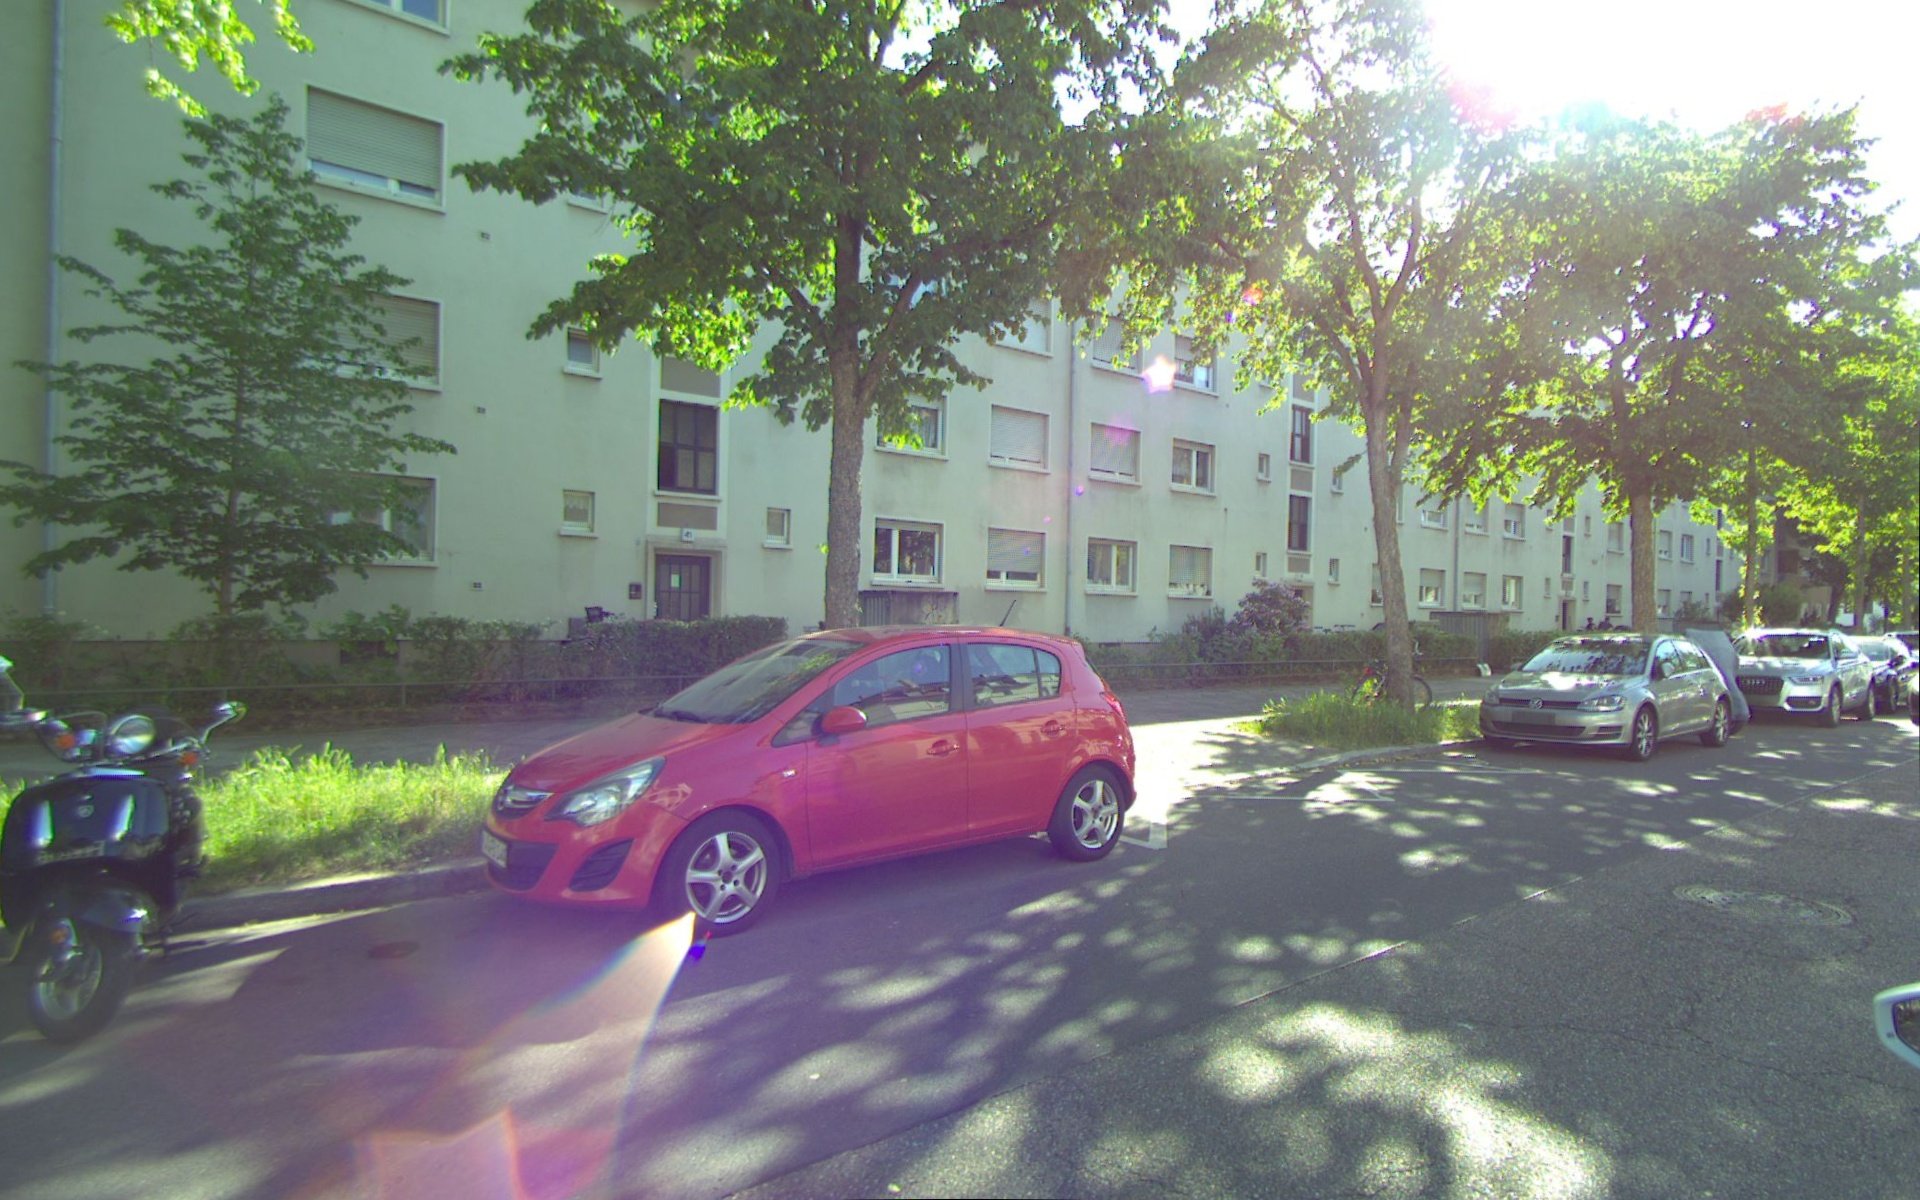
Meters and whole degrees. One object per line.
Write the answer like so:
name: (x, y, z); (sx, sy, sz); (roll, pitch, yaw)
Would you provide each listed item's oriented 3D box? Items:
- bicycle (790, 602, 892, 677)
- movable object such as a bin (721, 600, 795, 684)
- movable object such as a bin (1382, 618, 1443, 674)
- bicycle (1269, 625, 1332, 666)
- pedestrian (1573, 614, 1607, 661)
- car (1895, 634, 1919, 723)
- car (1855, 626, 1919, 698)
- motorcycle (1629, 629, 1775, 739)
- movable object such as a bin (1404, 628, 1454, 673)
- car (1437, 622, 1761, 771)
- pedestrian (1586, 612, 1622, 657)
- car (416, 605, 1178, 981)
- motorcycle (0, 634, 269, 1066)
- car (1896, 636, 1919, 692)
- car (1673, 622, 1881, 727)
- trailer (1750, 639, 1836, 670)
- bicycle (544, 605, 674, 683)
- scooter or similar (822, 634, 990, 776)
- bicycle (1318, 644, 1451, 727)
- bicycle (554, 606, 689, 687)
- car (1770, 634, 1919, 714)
bicycle: (-2.136, 0.709, 18.199); (1.897, 1.306, 0.395); (2, -1, -39)
movable object such as a bin: (-2.721, 0.552, 13.524); (0.753, 1.082, 0.689); (1, -1, -36)
movable object such as a bin: (11.179, 1.123, 24.825); (1.369, 1.341, 0.921); (2, -1, -43)
bicycle: (9.292, 1.226, 27.399); (1.921, 1.055, 0.779); (2, -1, -42)
pedestrian: (26.360, 1.553, 42.033); (0.863, 1.939, 0.782); (1, -1, -11)
car: (17.830, 1.329, 17.406); (4.329, 1.464, 1.795); (2, -2, -39)
car: (23.655, 1.498, 24.715); (4.329, 1.639, 1.715); (2, -4, -39)
motorcycle: (11.227, 1.214, 15.320); (0.969, 1.523, 2.235); (1, -1, 13)
movable object such as a bin: (11.928, 1.266, 25.555); (0.749, 1.106, 0.921); (2, -1, -43)
car: (8.286, 1.090, 12.880); (4.563, 1.544, 2.028); (1, -1, -37)
pedestrian: (27.334, 1.458, 42.619); (1.014, 1.913, 0.928); (1, -1, -31)
car: (-0.775, 0.819, 6.026); (4.144, 1.489, 1.842); (1, -1, -38)
motorcycle: (-3.464, 0.841, 4.158); (0.778, 1.350, 1.944); (1, -1, -29)
car: (27.795, 1.748, 28.011); (4.577, 1.496, 1.716); (2, -4, -38)
car: (14.418, 1.203, 17.633); (4.684, 1.544, 2.046); (2, -1, -41)
trailer: (31.585, 2.032, 38.082); (3.249, 1.047, 1.777); (2, -1, -36)
bicycle: (-5.750, 0.712, 16.488); (1.893, 1.217, 0.681); (2, -1, -36)
scooter or similar: (-0.509, 0.954, 9.270); (1.486, 1.251, 0.556); (1, 0, -8)
bicycle: (5.926, 1.157, 13.974); (2.067, 1.029, 0.527); (1, 7, -32)
bicycle: (-5.346, 0.725, 15.913); (1.893, 1.217, 0.681); (2, -1, -36)
car: (18.489, 1.445, 20.763); (4.779, 1.466, 1.715); (1, -3, -39)
